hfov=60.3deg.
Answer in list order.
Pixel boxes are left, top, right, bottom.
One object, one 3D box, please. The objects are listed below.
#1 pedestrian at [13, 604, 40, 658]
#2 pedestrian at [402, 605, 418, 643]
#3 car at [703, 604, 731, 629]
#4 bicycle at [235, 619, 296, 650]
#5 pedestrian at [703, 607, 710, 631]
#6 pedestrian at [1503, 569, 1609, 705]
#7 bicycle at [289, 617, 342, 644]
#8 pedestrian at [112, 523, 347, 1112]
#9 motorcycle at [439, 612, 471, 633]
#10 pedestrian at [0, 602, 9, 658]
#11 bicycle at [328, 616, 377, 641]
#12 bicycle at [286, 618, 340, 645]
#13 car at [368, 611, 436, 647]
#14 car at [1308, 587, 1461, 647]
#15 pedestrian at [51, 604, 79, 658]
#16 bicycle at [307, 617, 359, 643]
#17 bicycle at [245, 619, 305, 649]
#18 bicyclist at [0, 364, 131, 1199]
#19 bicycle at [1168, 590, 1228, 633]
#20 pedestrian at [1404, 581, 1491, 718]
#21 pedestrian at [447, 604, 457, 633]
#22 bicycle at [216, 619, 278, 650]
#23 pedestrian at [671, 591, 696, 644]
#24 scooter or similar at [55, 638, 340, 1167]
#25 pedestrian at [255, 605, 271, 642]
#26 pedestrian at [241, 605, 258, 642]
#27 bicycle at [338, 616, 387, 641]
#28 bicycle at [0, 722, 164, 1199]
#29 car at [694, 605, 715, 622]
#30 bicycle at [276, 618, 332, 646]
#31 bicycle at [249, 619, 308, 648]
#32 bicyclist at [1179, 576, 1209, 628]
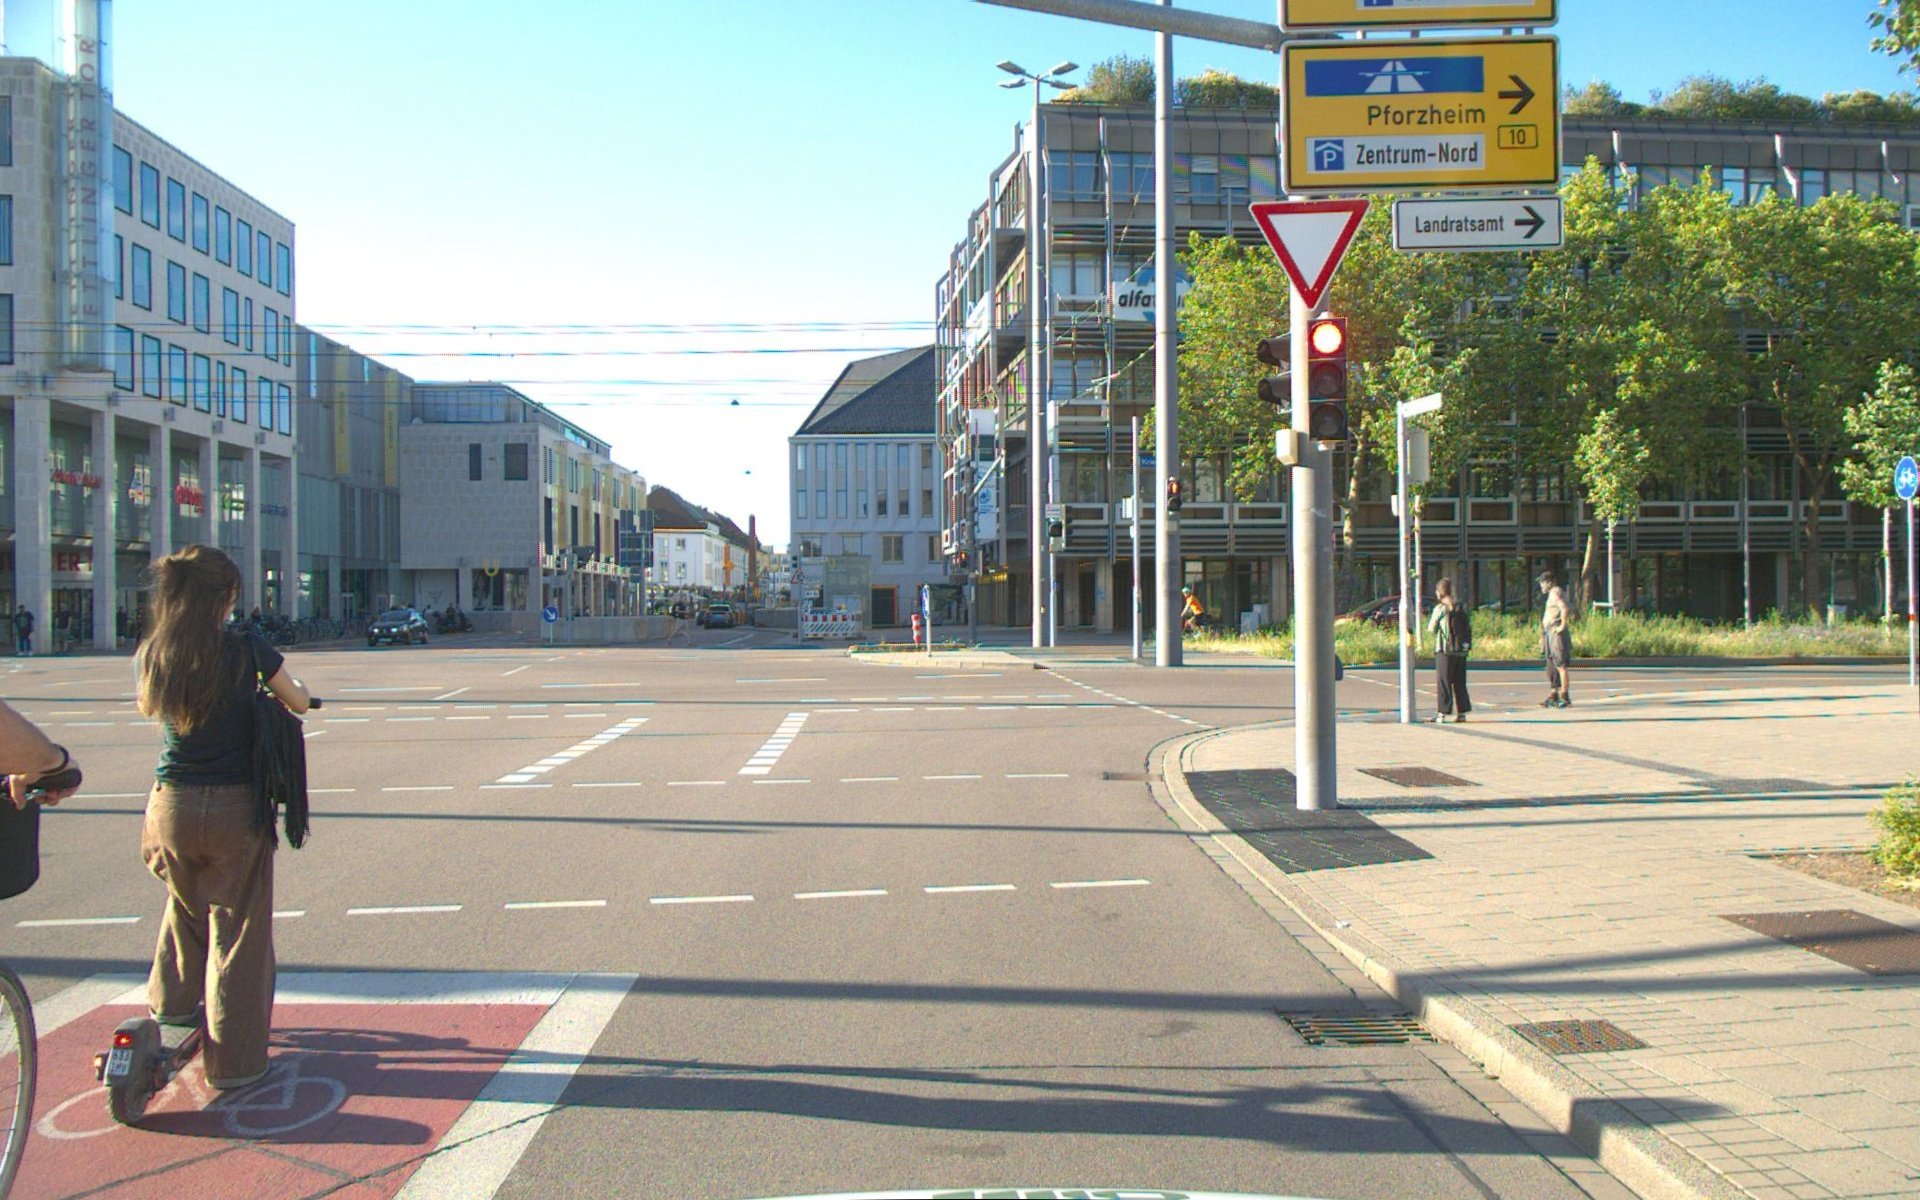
[{"bbox_3d":[-32.864,1.079,58.255,0.787,1.876,0.856,0,0,-29],"label":"pedestrian"},{"bbox_3d":[-25.794,1.120,77.591,0.639,1.749,0.447,0,0,-25],"label":"pedestrian"},{"bbox_3d":[-15.825,1.061,107.937,1.705,1.558,3.849,1,0,-8],"label":"car"},{"bbox_3d":[-29.127,1.435,69.394,2.260,1.244,0.611,0,0,-3],"label":"bicycle"},{"bbox_3d":[-17.937,1.361,117.018,0.511,1.709,0.582,1,0,-8],"label":"pedestrian"},{"bbox_3d":[7.650,0.468,21.247,0.866,1.694,0.958,1,-1,-22],"label":"pedestrian"},{"bbox_3d":[-30.714,1.448,78.810,2.260,1.244,0.611,0,0,-3],"label":"bicycle"},{"bbox_3d":[-2.190,0.617,5.019,0.540,1.661,0.569,1,-1,-16],"label":"pedestrian"},{"bbox_3d":[-29.761,1.329,97.468,1.775,1.228,0.509,1,0,-16],"label":"motorcycle"},{"bbox_3d":[-33.028,1.030,56.661,0.706,1.918,0.780,1,-1,-28],"label":"pedestrian"},{"bbox_3d":[-30.928,1.468,84.259,2.260,1.244,0.611,0,0,-3],"label":"bicycle"},{"bbox_3d":[-30.065,1.451,76.840,2.260,1.244,0.611,0,0,-3],"label":"bicycle"},{"bbox_3d":[-23.379,1.208,69.476,1.597,1.365,3.998,-3,0,-3],"label":"car"},{"bbox_3d":[11.858,0.464,46.315,3.812,1.613,1.656,-1,0,-8],"label":"car"},{"bbox_3d":[-31.172,1.071,57.595,0.788,1.876,0.854,0,0,-33],"label":"pedestrian"},{"bbox_3d":[-30.335,1.460,80.043,2.260,1.244,0.611,0,0,-3],"label":"bicycle"},{"bbox_3d":[-29.291,1.438,70.748,2.260,1.244,0.611,0,0,-3],"label":"bicycle"},{"bbox_3d":[-1.980,0.465,2.843,0.647,1.750,0.865,1,-1,-1],"label":"bicyclist"},{"bbox_3d":[6.808,0.332,47.267,1.615,1.175,0.496,1,-1,-10],"label":"bicycle"},{"bbox_3d":[5.514,0.552,18.740,0.772,1.518,0.644,1,-1,-1],"label":"pedestrian"},{"bbox_3d":[-30.098,1.075,98.070,0.512,1.709,0.581,1,0,-14],"label":"pedestrian"},{"bbox_3d":[-29.334,1.426,68.108,2.260,1.244,0.611,0,0,-3],"label":"bicycle"},{"bbox_3d":[-10.269,0.648,61.428,0.628,1.923,0.791,1,-1,14],"label":"pedestrian"},{"bbox_3d":[-2.180,0.785,4.851,0.538,1.316,1.189,1,0,-15],"label":"scooter or similar"},{"bbox_3d":[-32.461,1.077,77.014,0.544,1.709,0.606,1,0,-11],"label":"pedestrian"},{"bbox_3d":[-32.995,1.093,76.840,0.560,1.709,0.614,1,0,-10],"label":"pedestrian"},{"bbox_3d":[-30.816,1.475,85.330,2.260,1.244,0.611,0,0,-3],"label":"bicycle"},{"bbox_3d":[-2.084,0.869,2.918,0.475,1.176,1.831,1,0,-1],"label":"bicycle"},{"bbox_3d":[-22.721,1.172,147.258,1.751,1.477,3.993,1,0,-7],"label":"car"},{"bbox_3d":[-29.605,1.450,74.690,2.260,1.244,0.611,0,0,-3],"label":"bicycle"},{"bbox_3d":[-29.505,1.438,71.625,2.260,1.244,0.611,0,0,-3],"label":"bicycle"},{"bbox_3d":[6.684,0.049,47.246,0.698,1.462,0.496,1,-1,-10],"label":"bicyclist"}]
